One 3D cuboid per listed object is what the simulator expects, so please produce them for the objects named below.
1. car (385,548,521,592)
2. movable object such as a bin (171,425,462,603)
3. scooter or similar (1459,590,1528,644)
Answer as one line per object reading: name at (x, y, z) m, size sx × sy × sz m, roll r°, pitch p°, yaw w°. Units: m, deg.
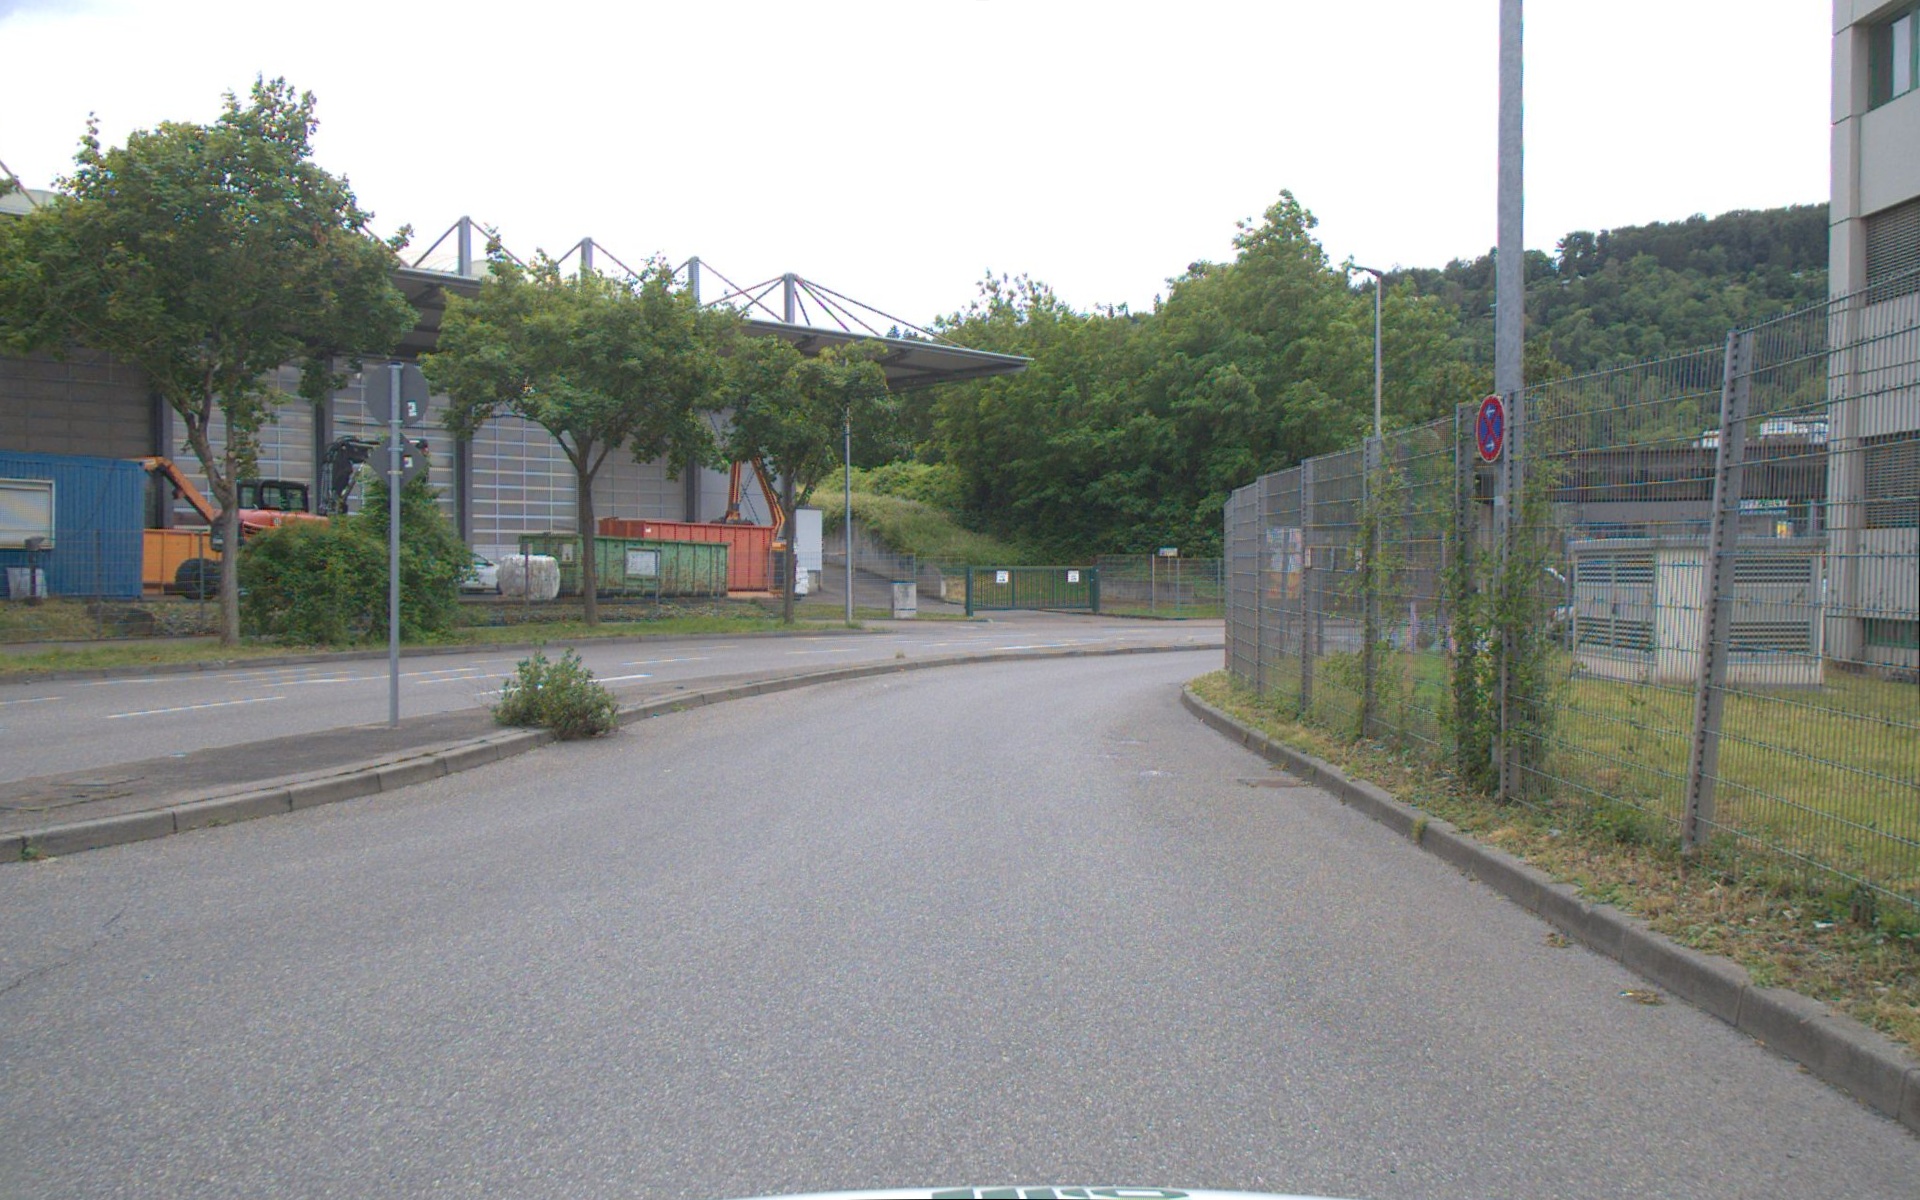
car at (-16.512, -0.973, 53.980) m, size 1.707 × 1.398 × 3.977 m, roll 1°, pitch 1°, yaw 41°
movable object such as a bin at (-16.196, -2.092, 42.099) m, size 2.677 × 4.162 × 6.533 m, roll 0°, pitch 1°, yaw 34°
scooter or similar at (11.726, 0.373, 36.353) m, size 0.476 × 1.153 × 1.398 m, roll 0°, pitch -1°, yaw -40°
